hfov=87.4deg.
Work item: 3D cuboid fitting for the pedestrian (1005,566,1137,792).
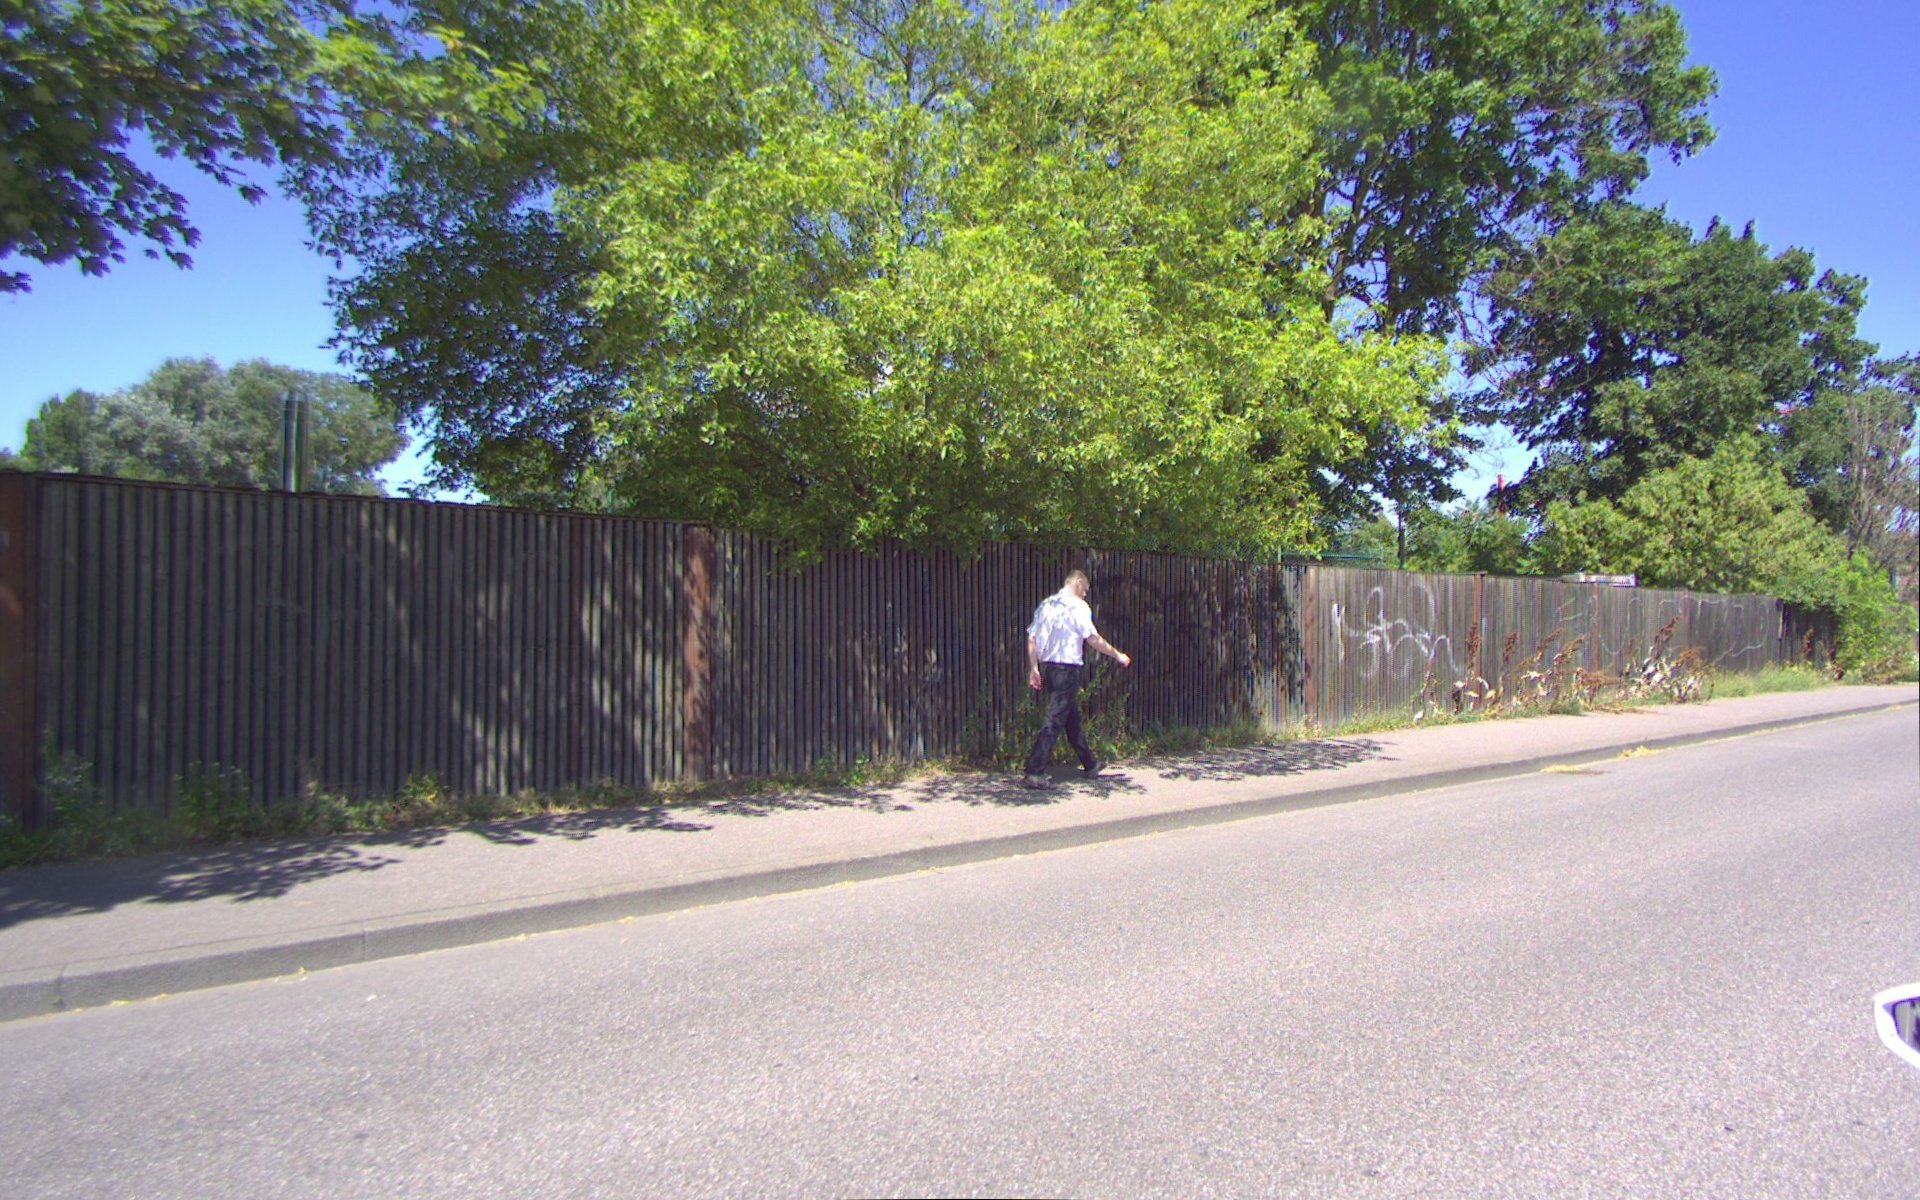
[{"bbox_3d":[0.914,0.618,8.304,0.810,1.748,0.718,1,-1,-34],"label":"pedestrian"}]
